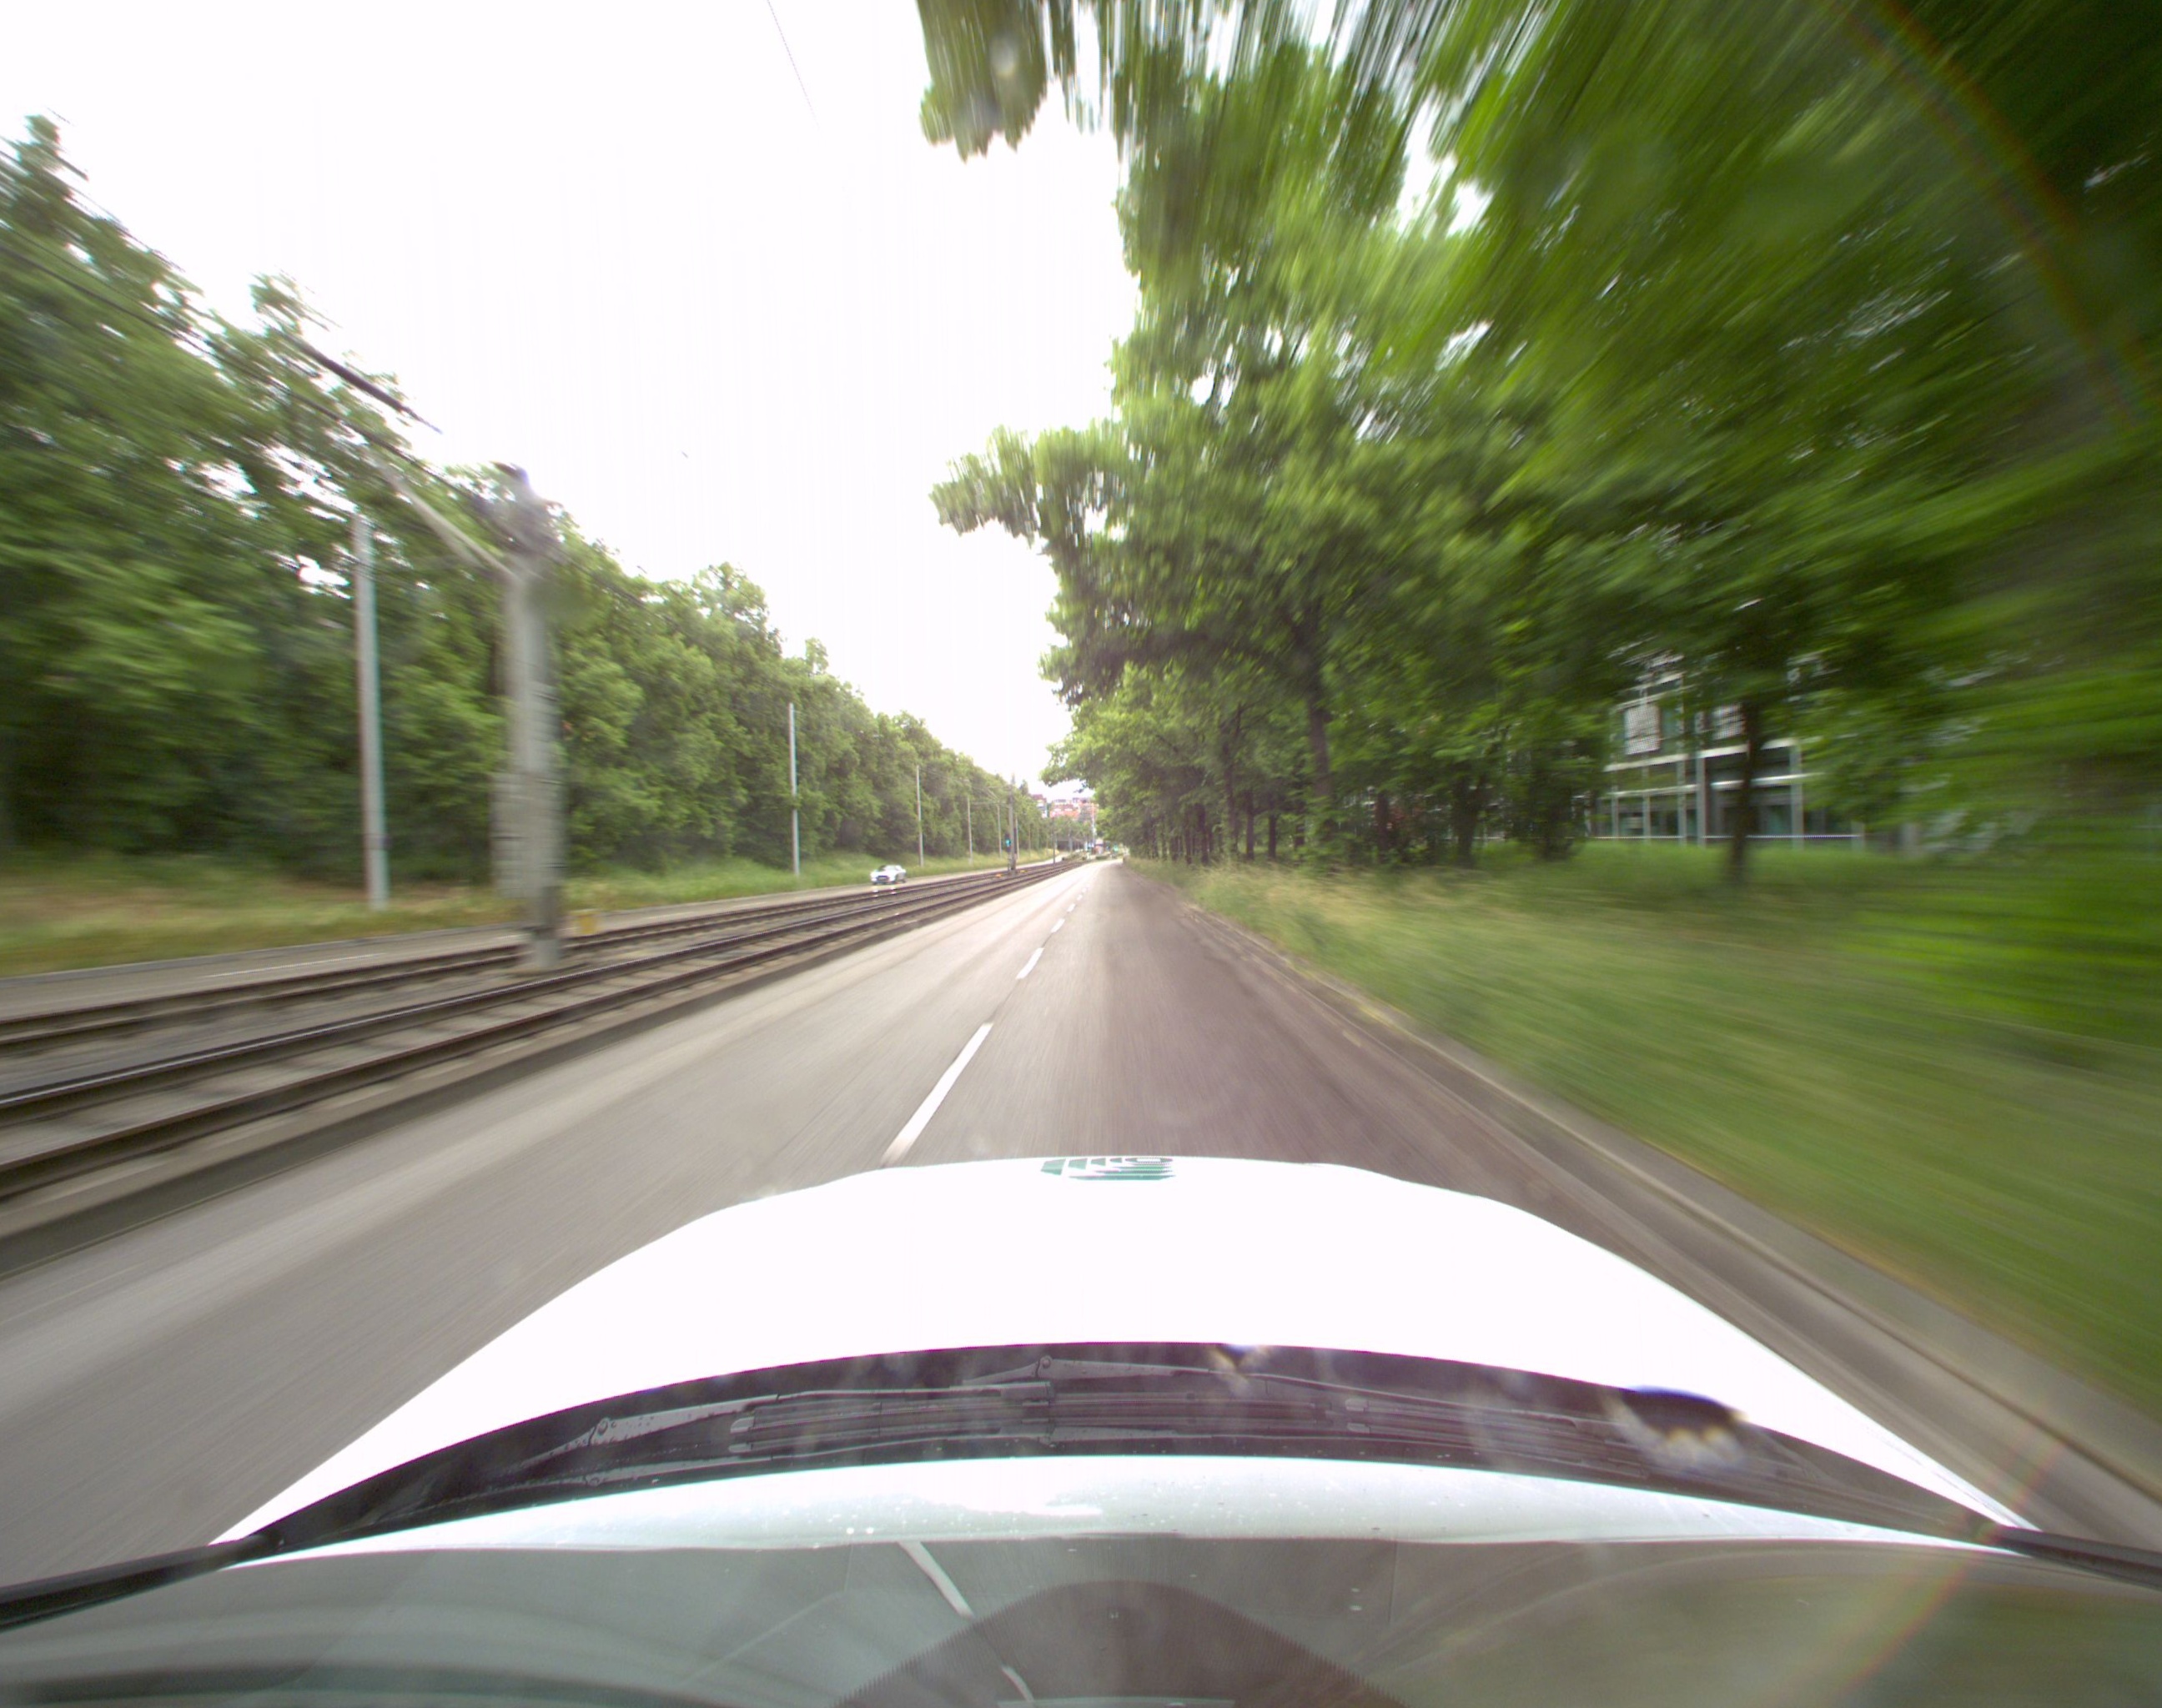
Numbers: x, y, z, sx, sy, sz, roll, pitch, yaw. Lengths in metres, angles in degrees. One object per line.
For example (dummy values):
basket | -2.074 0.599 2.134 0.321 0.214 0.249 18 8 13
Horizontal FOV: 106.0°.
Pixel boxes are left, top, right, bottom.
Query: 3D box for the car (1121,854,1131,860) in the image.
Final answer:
car | 10.599 0.726 192.651 2.186 1.329 4.002 -1 1 2

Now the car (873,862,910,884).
car | -13.554 1.339 58.447 1.470 1.436 3.912 -3 0 2
